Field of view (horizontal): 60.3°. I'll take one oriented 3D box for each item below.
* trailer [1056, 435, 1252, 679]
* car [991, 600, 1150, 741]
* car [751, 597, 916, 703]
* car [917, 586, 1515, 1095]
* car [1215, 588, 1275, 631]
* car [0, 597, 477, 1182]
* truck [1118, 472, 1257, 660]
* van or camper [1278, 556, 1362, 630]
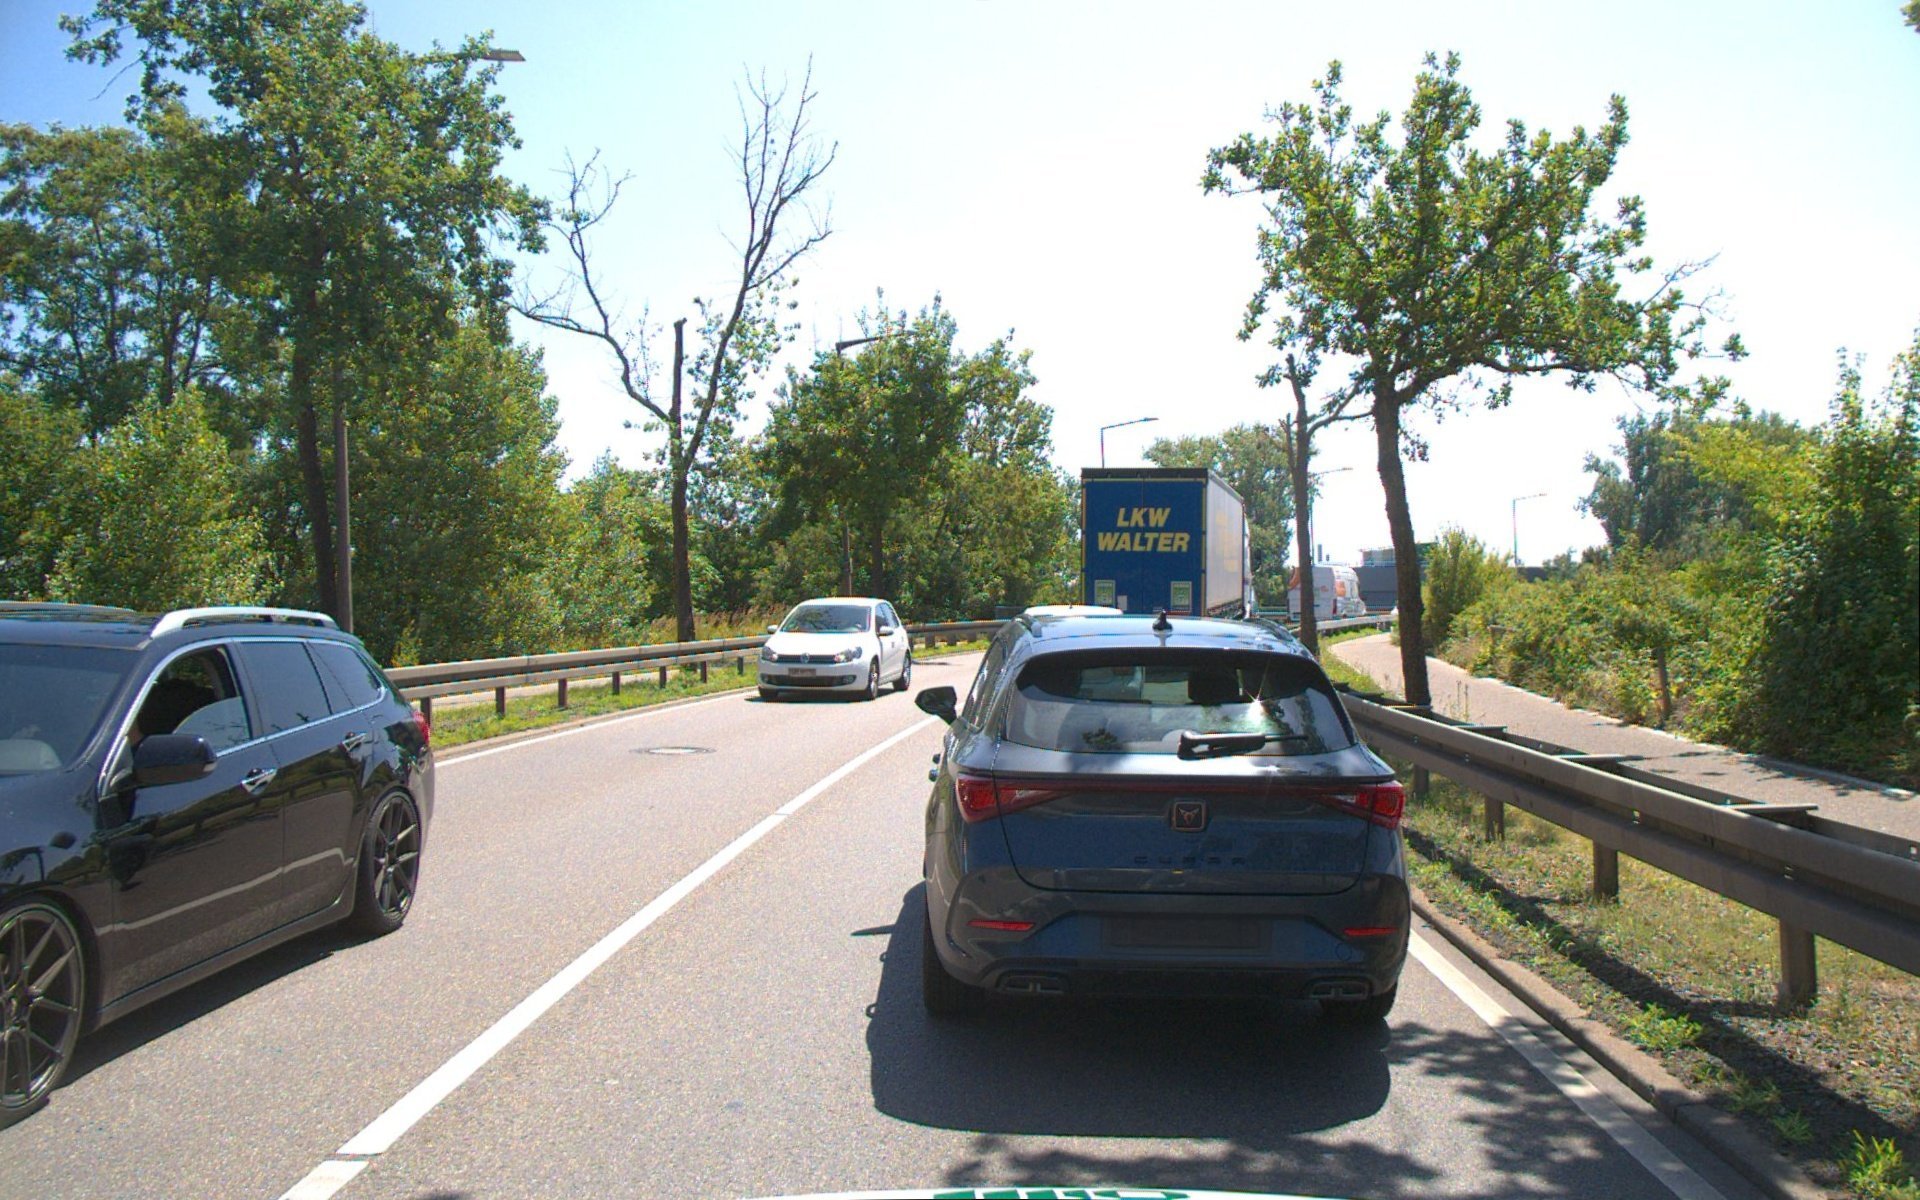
[{"bbox_3d":[4.876,-0.863,38.552,3.067,4.694,12.959,1,0,13],"label":"trailer"},{"bbox_3d":[1.395,0.764,19.711,1.559,1.486,3.548,1,0,9],"label":"car"},{"bbox_3d":[-1.844,0.698,25.408,1.688,1.464,4.027,1,0,8],"label":"car"},{"bbox_3d":[0.747,0.712,6.855,1.808,1.525,3.757,0,0,-1],"label":"car"},{"bbox_3d":[11.932,0.373,69.145,1.711,1.758,3.727,0,0,22],"label":"car"},{"bbox_3d":[-3.318,0.718,5.933,1.838,1.404,4.669,1,0,-1],"label":"car"},{"bbox_3d":[6.339,-0.841,45.005,3.102,4.665,7.402,1,0,12],"label":"truck"},{"bbox_3d":[14.233,-0.284,65.093,2.158,2.758,5.924,0,0,23],"label":"van or camper"}]
